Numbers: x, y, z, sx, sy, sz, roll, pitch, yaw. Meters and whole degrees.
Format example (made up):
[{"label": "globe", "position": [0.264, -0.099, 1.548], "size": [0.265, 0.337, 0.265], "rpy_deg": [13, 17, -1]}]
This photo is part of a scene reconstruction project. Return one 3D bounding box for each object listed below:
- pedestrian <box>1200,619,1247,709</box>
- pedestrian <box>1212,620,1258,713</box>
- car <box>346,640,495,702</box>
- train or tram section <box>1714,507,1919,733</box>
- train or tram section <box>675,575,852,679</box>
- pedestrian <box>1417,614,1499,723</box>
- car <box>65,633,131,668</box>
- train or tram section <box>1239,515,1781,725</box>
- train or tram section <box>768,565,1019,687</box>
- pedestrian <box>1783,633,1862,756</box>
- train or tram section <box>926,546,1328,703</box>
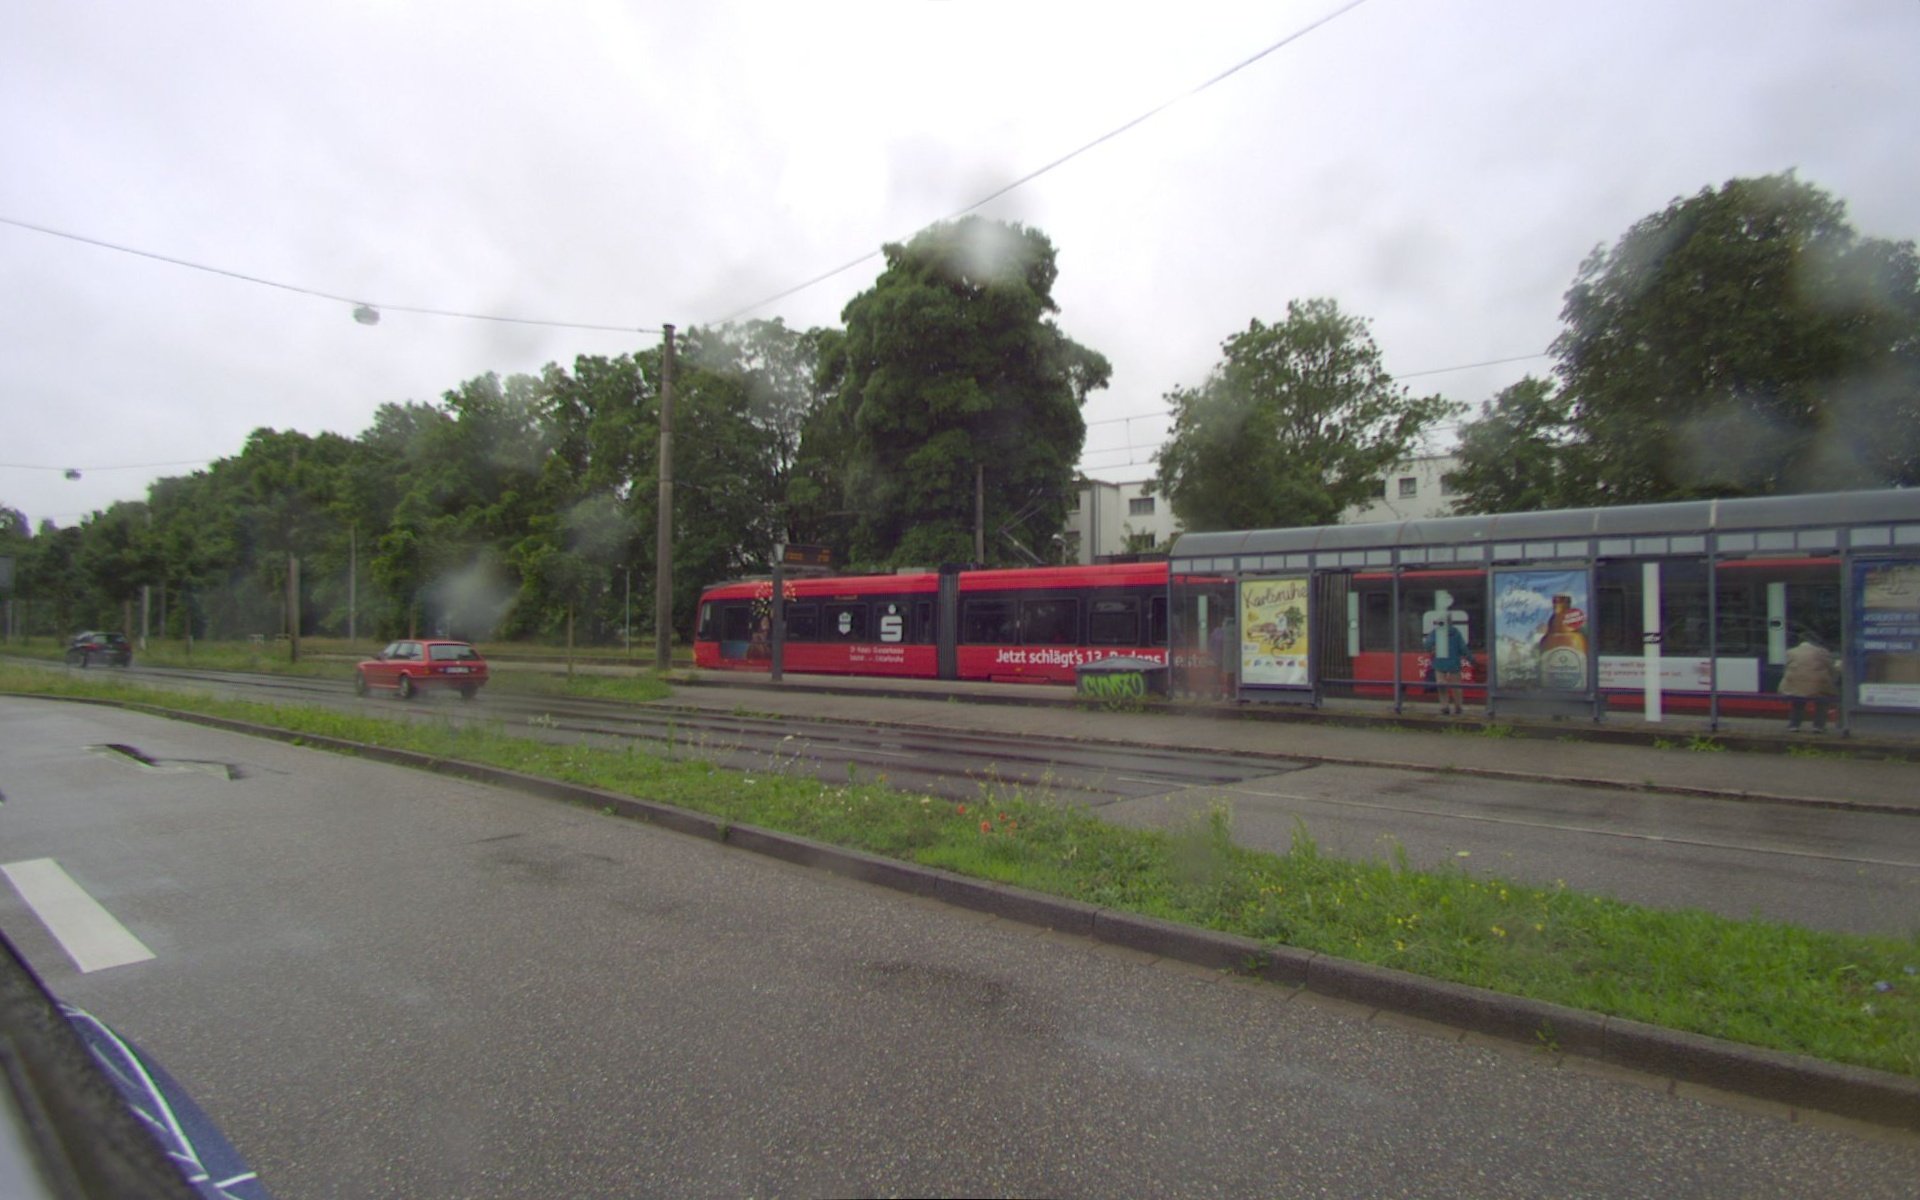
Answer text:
[{"label": "pedestrian", "position": [4.758, 1.132, 18.266], "size": [0.514, 1.574, 0.603], "rpy_deg": [-1, 0, -35]}, {"label": "pedestrian", "position": [4.798, 1.139, 17.655], "size": [0.437, 1.574, 0.603], "rpy_deg": [-1, 0, -35]}, {"label": "car", "position": [-13.241, 1.702, 24.750], "size": [4.246, 1.371, 1.664], "rpy_deg": [-2, -4, 39]}, {"label": "train or tram section", "position": [17.297, 0.298, 15.225], "size": [9.273, 3.416, 3.496], "rpy_deg": [-2, -3, 41]}, {"label": "train or tram section", "position": [-7.177, 1.003, 36.711], "size": [5.766, 3.444, 3.496], "rpy_deg": [-2, -3, 41]}, {"label": "pedestrian", "position": [7.624, 1.024, 15.497], "size": [0.929, 1.609, 0.795], "rpy_deg": [-2, -2, 43]}, {"label": "car", "position": [-38.522, 2.213, 45.218], "size": [3.818, 1.448, 1.718], "rpy_deg": [-1, -1, 41]}, {"label": "train or tram section", "position": [10.859, 0.474, 20.877], "size": [9.273, 3.416, 3.496], "rpy_deg": [-2, -3, 41]}, {"label": "train or tram section", "position": [-2.295, 0.867, 32.418], "size": [7.898, 3.438, 3.496], "rpy_deg": [-2, -3, 41]}, {"label": "pedestrian", "position": [10.730, 1.149, 12.593], "size": [0.699, 1.464, 0.618], "rpy_deg": [-2, -3, 42]}, {"label": "train or tram section", "position": [4.024, 0.690, 26.877], "size": [10.255, 3.427, 3.496], "rpy_deg": [-2, -3, 41]}]
